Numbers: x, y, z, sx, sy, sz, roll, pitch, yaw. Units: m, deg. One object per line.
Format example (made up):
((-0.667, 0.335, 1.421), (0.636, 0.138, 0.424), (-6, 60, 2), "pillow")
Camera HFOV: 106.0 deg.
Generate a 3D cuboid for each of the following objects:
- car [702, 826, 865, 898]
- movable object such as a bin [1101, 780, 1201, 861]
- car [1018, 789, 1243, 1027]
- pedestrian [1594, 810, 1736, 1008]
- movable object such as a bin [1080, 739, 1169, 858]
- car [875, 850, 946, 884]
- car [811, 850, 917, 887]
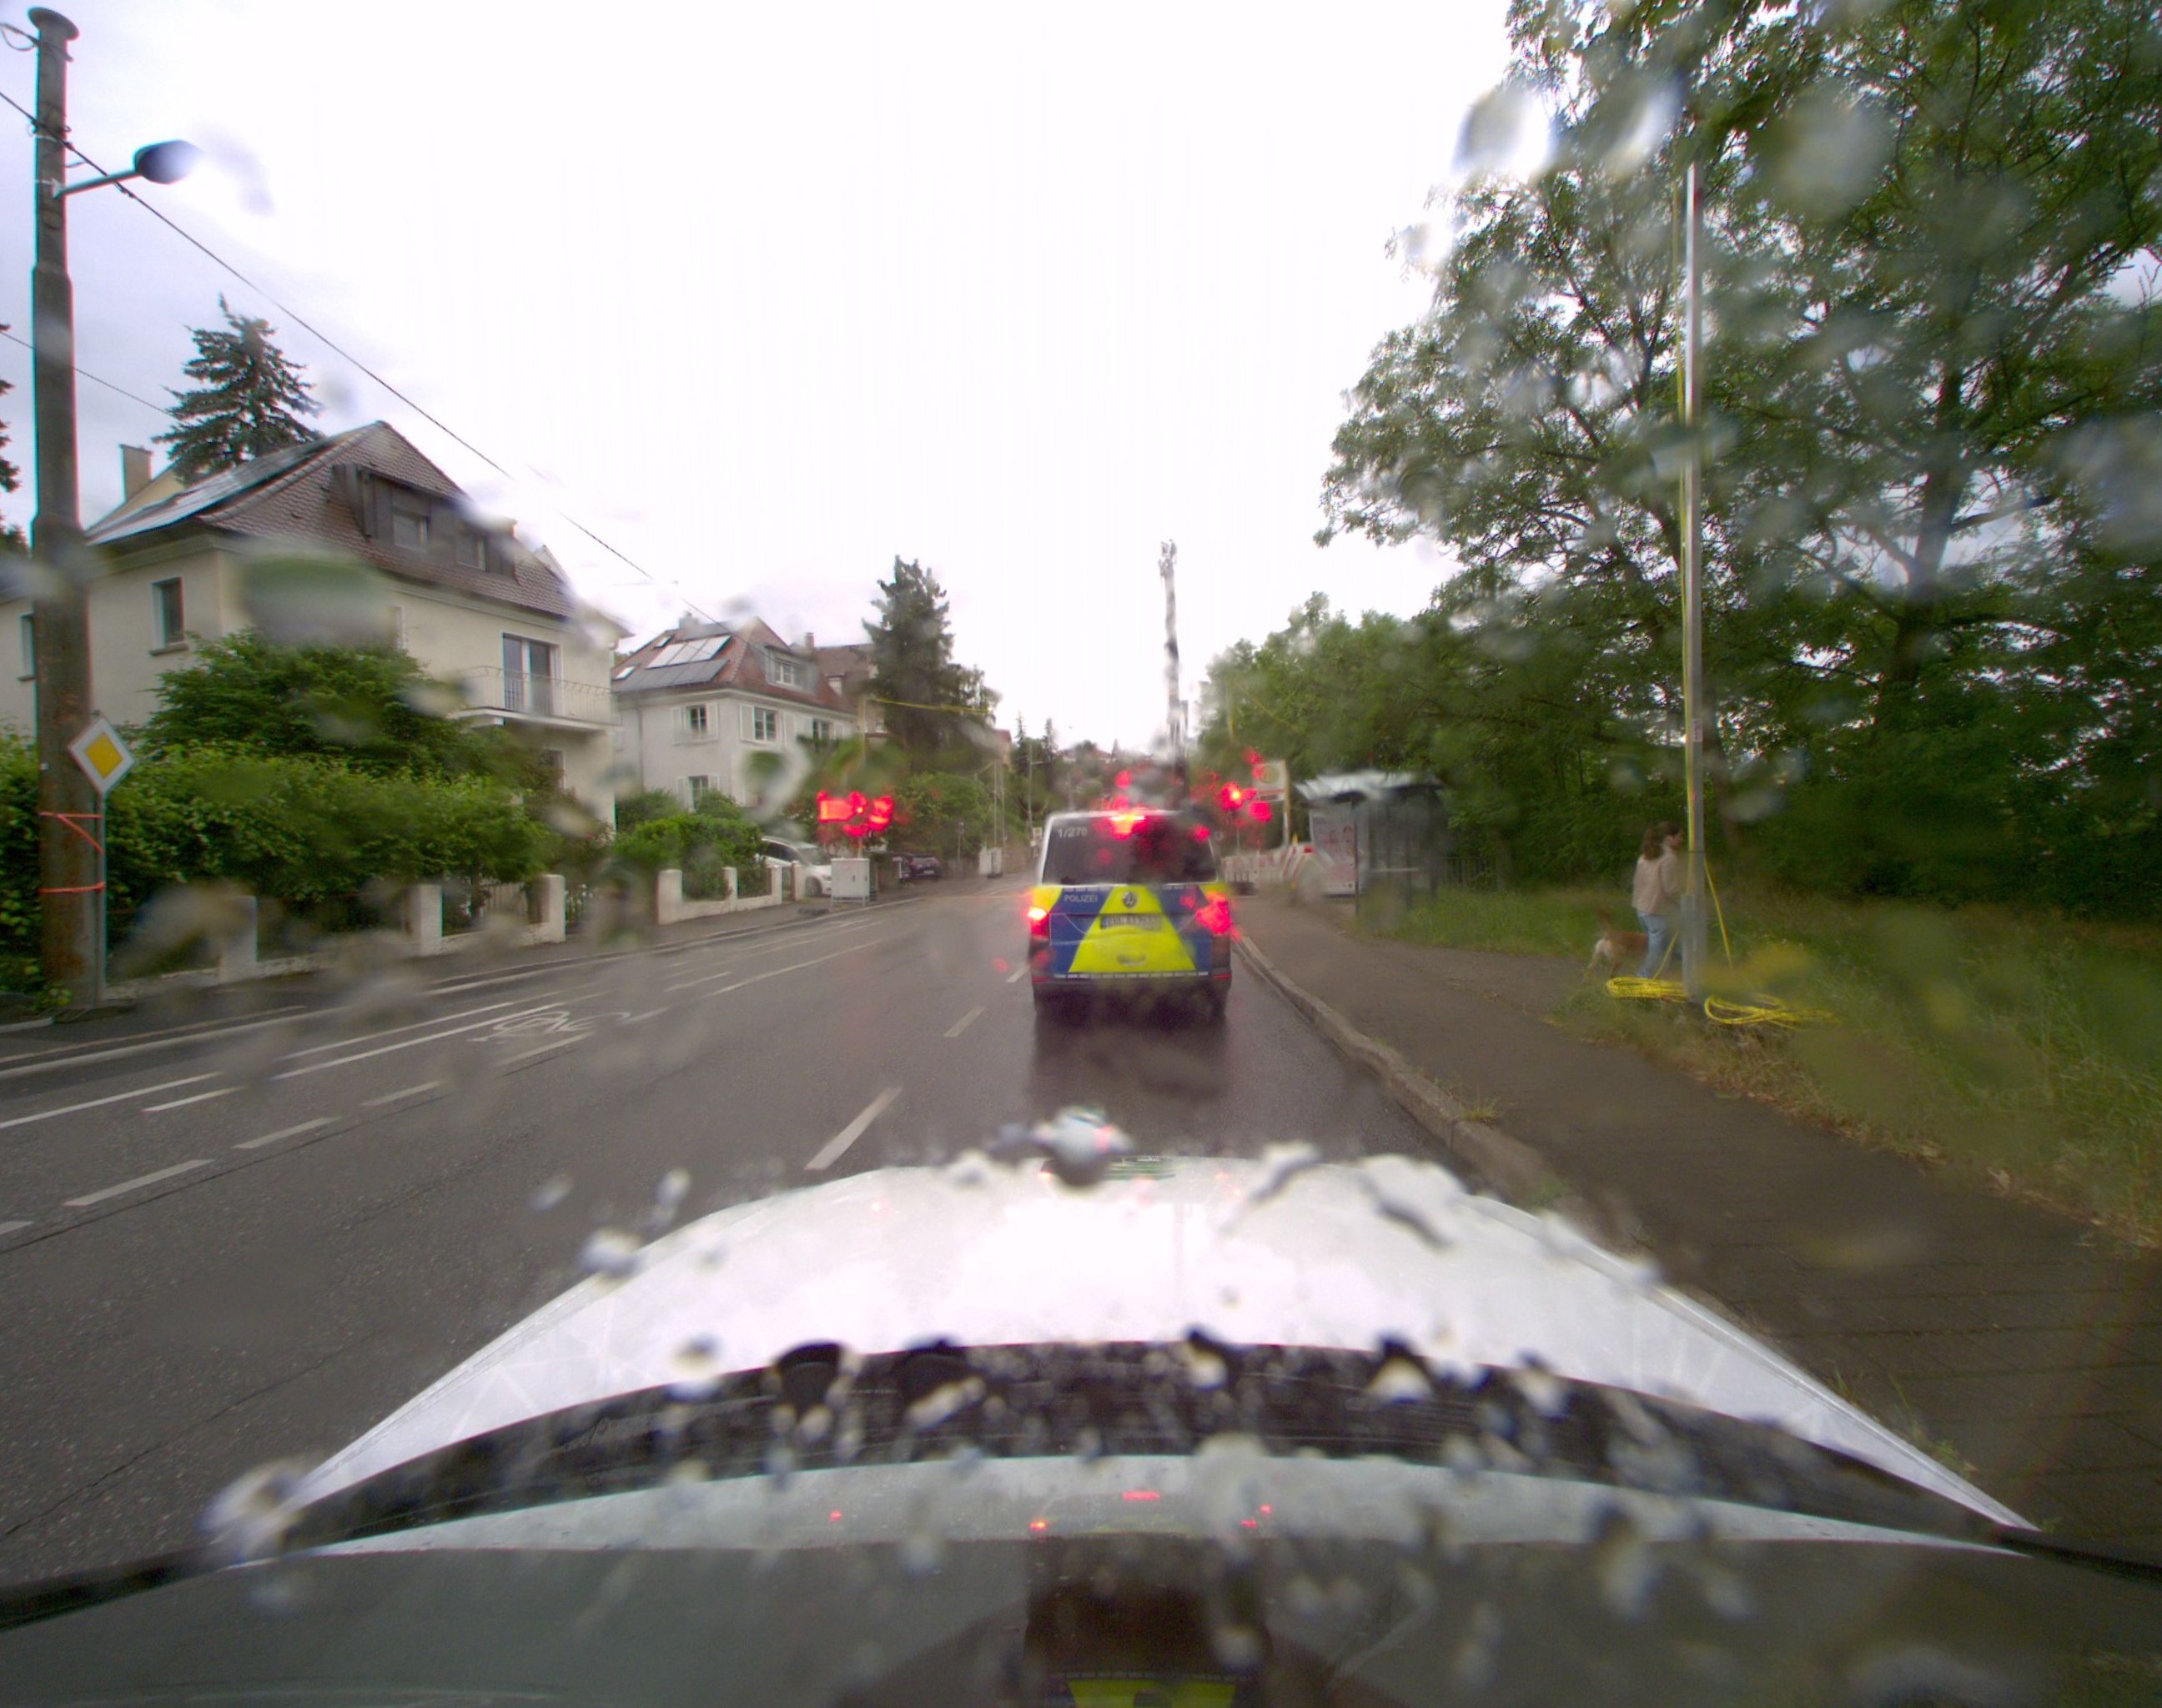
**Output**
((-10.185, 0.230, 27.931), (4.927, 1.616, 1.872), (9, 4, 15), "car")
((4.920, -2.166, 55.950), (3.646, 5.066, 7.209), (-3, -1, 34), "movable object such as a bin")
((0.491, 0.480, 9.154), (1.901, 2.010, 4.441), (0, -1, 2), "car")
((5.000, 0.452, 7.024), (0.745, 1.604, 0.735), (-1, -1, 11), "pedestrian")
((1.819, -2.035, 31.762), (2.862, 4.170, 4.499), (-2, 1, 9), "movable object such as a bin")
((-8.054, 0.576, 38.250), (1.795, 1.525, 3.955), (0, 0, -37), "car")
((-9.376, 0.629, 35.276), (3.958, 1.525, 1.948), (-1, -1, 15), "car")
